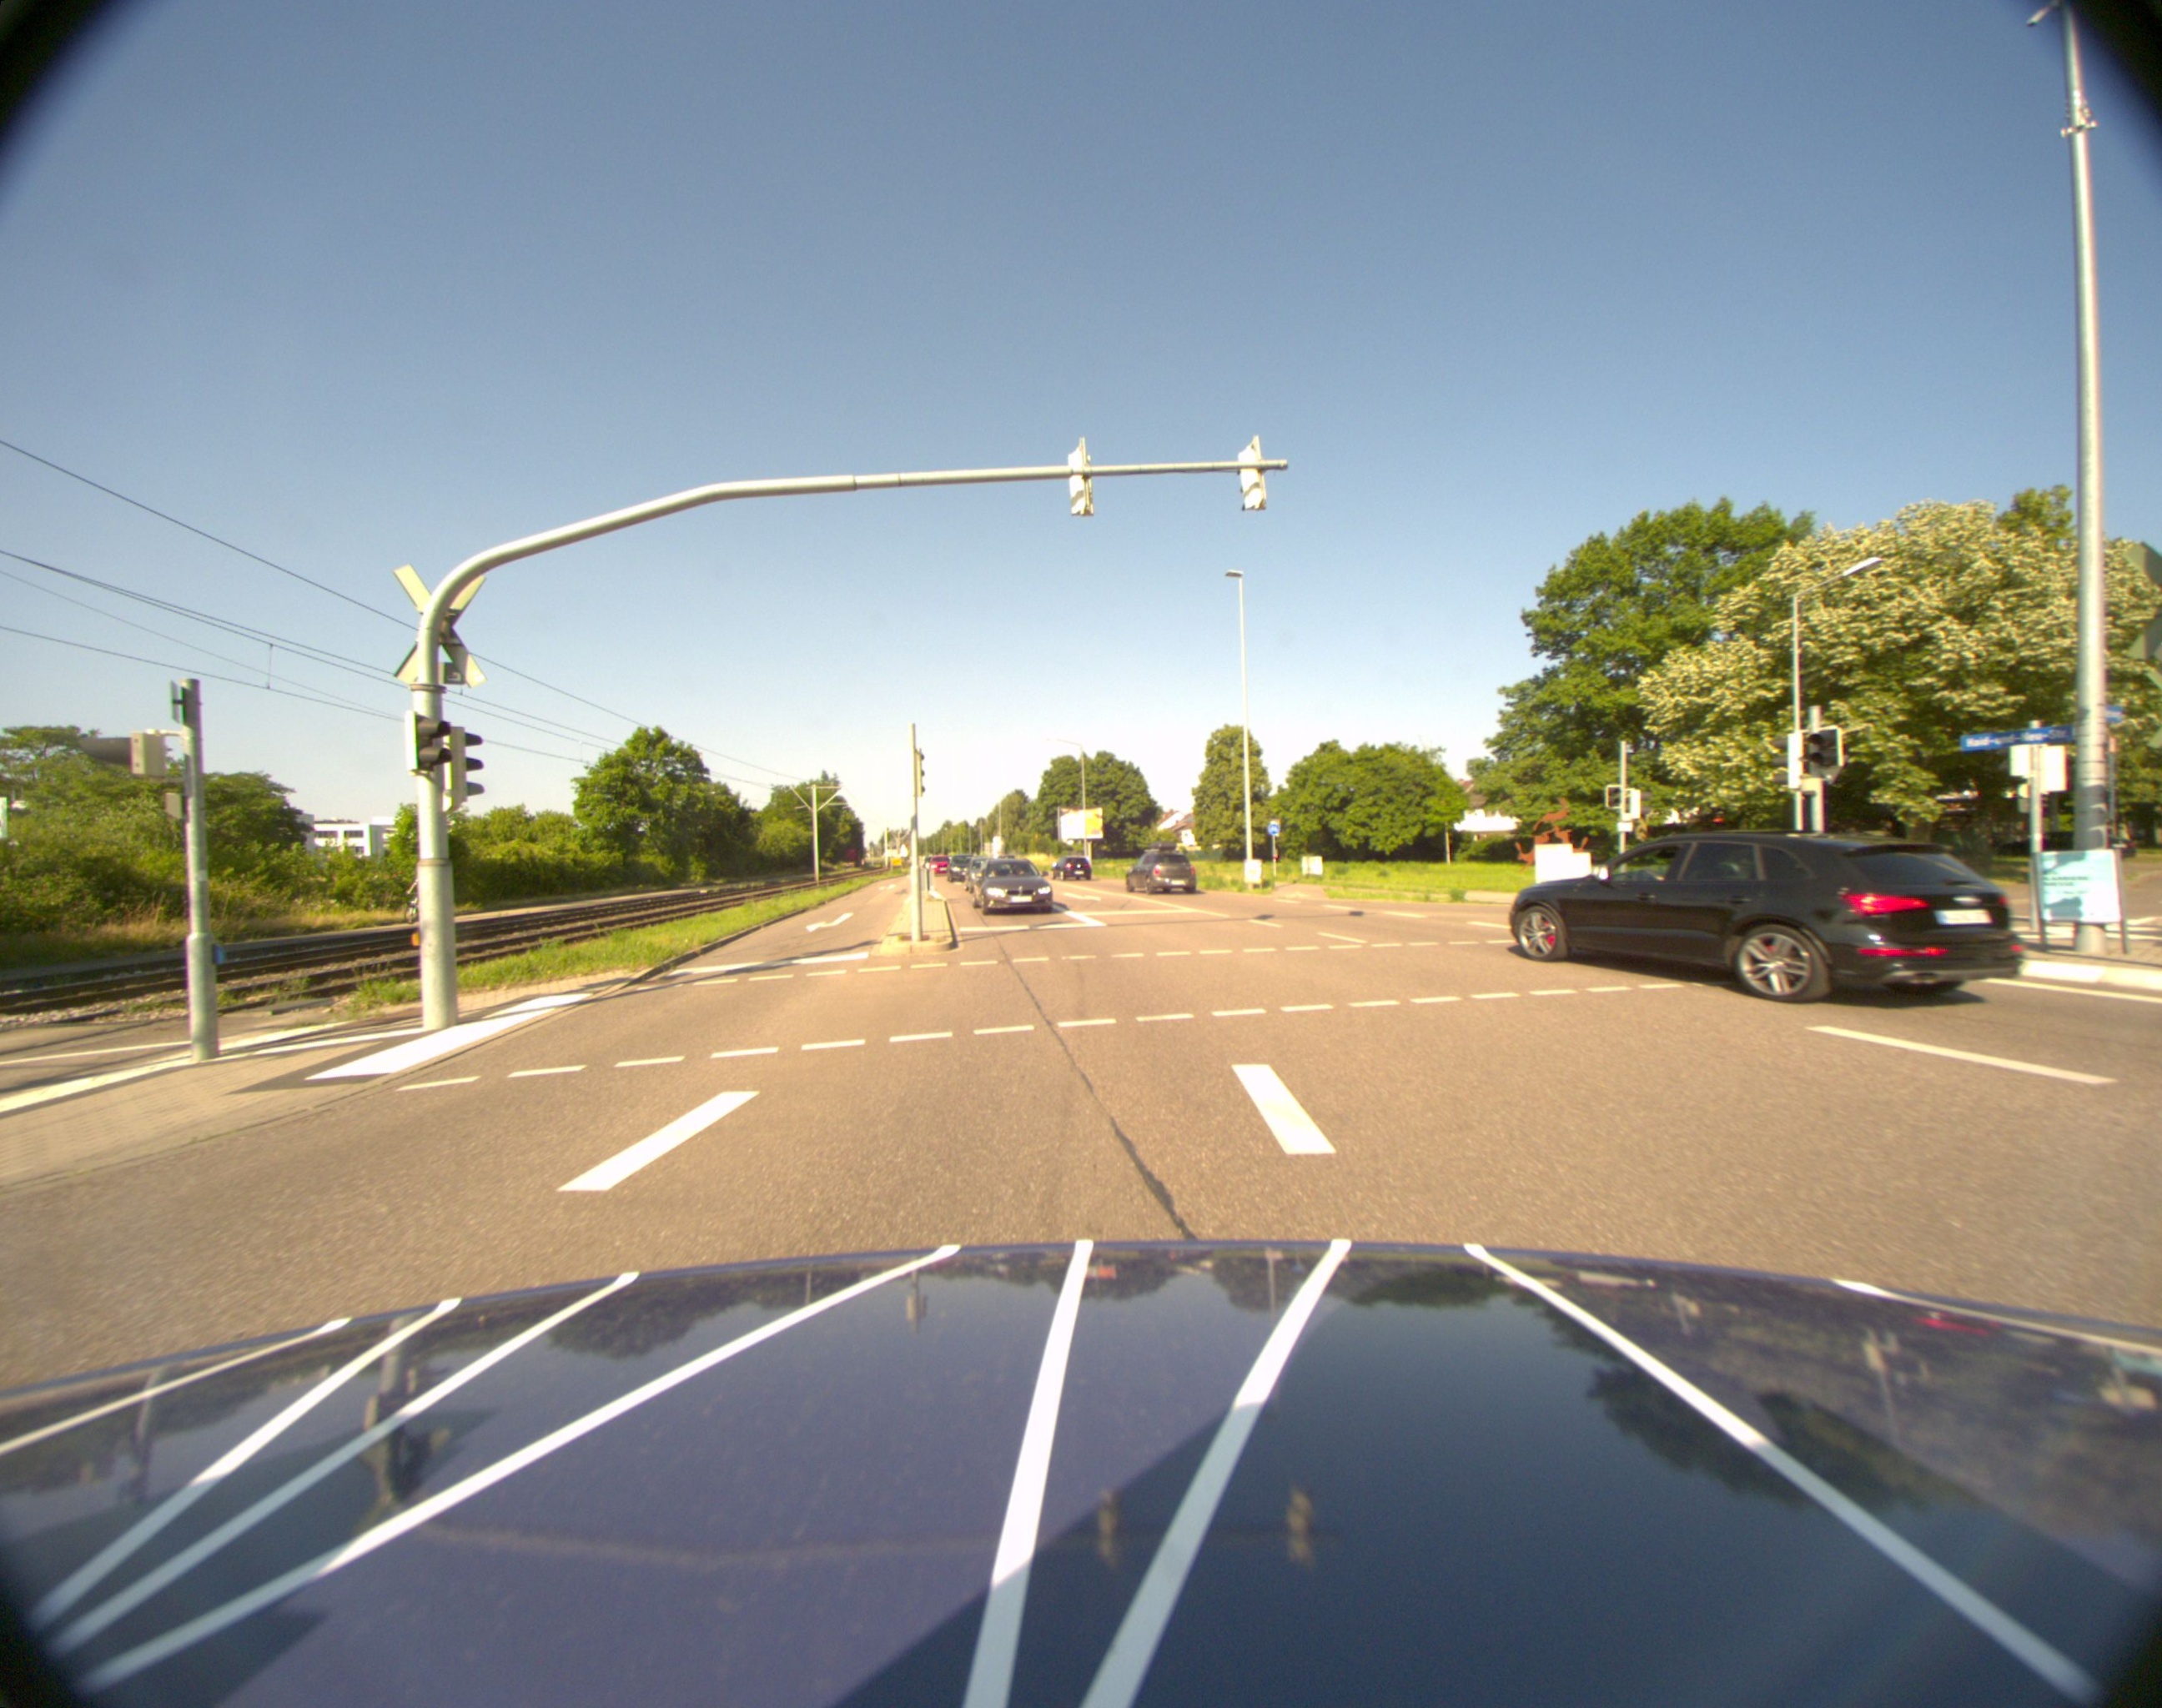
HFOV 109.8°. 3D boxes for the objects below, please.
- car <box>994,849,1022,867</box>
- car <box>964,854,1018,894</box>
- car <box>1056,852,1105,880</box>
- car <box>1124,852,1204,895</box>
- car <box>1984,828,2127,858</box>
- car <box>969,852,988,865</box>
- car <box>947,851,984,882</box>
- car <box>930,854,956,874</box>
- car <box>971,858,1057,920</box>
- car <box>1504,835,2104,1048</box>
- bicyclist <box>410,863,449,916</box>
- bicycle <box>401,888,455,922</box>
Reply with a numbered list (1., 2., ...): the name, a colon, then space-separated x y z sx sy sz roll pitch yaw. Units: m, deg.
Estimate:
1. car: -6.403 0.342 66.262 1.752 1.553 3.994 0 0 -16
2. car: -3.931 0.785 32.513 1.823 1.481 4.605 -2 1 -12
3. car: -0.083 0.635 43.390 1.895 1.465 4.095 -1 1 -13
4. car: 3.074 0.688 29.079 1.795 1.511 3.995 -1 1 -13
5. car: 47.772 -0.544 37.430 1.523 1.313 4.773 -1 1 10
6. car: -11.466 0.477 84.807 1.708 1.456 4.364 0 0 -12
7. car: -6.924 0.689 45.144 1.823 1.641 4.605 -3 1 -12
8. car: -10.948 0.777 60.133 1.809 1.498 4.192 -2 1 -12
9. car: -1.959 0.869 20.922 1.823 1.416 4.456 -1 1 -12
10. car: 7.123 0.669 8.291 1.996 1.649 4.379 -1 1 -12
11. bicyclist: -22.917 1.249 26.728 0.708 1.797 0.717 -2 1 -11
12. bicycle: -22.898 1.785 26.677 0.547 1.041 1.871 -2 1 -11
